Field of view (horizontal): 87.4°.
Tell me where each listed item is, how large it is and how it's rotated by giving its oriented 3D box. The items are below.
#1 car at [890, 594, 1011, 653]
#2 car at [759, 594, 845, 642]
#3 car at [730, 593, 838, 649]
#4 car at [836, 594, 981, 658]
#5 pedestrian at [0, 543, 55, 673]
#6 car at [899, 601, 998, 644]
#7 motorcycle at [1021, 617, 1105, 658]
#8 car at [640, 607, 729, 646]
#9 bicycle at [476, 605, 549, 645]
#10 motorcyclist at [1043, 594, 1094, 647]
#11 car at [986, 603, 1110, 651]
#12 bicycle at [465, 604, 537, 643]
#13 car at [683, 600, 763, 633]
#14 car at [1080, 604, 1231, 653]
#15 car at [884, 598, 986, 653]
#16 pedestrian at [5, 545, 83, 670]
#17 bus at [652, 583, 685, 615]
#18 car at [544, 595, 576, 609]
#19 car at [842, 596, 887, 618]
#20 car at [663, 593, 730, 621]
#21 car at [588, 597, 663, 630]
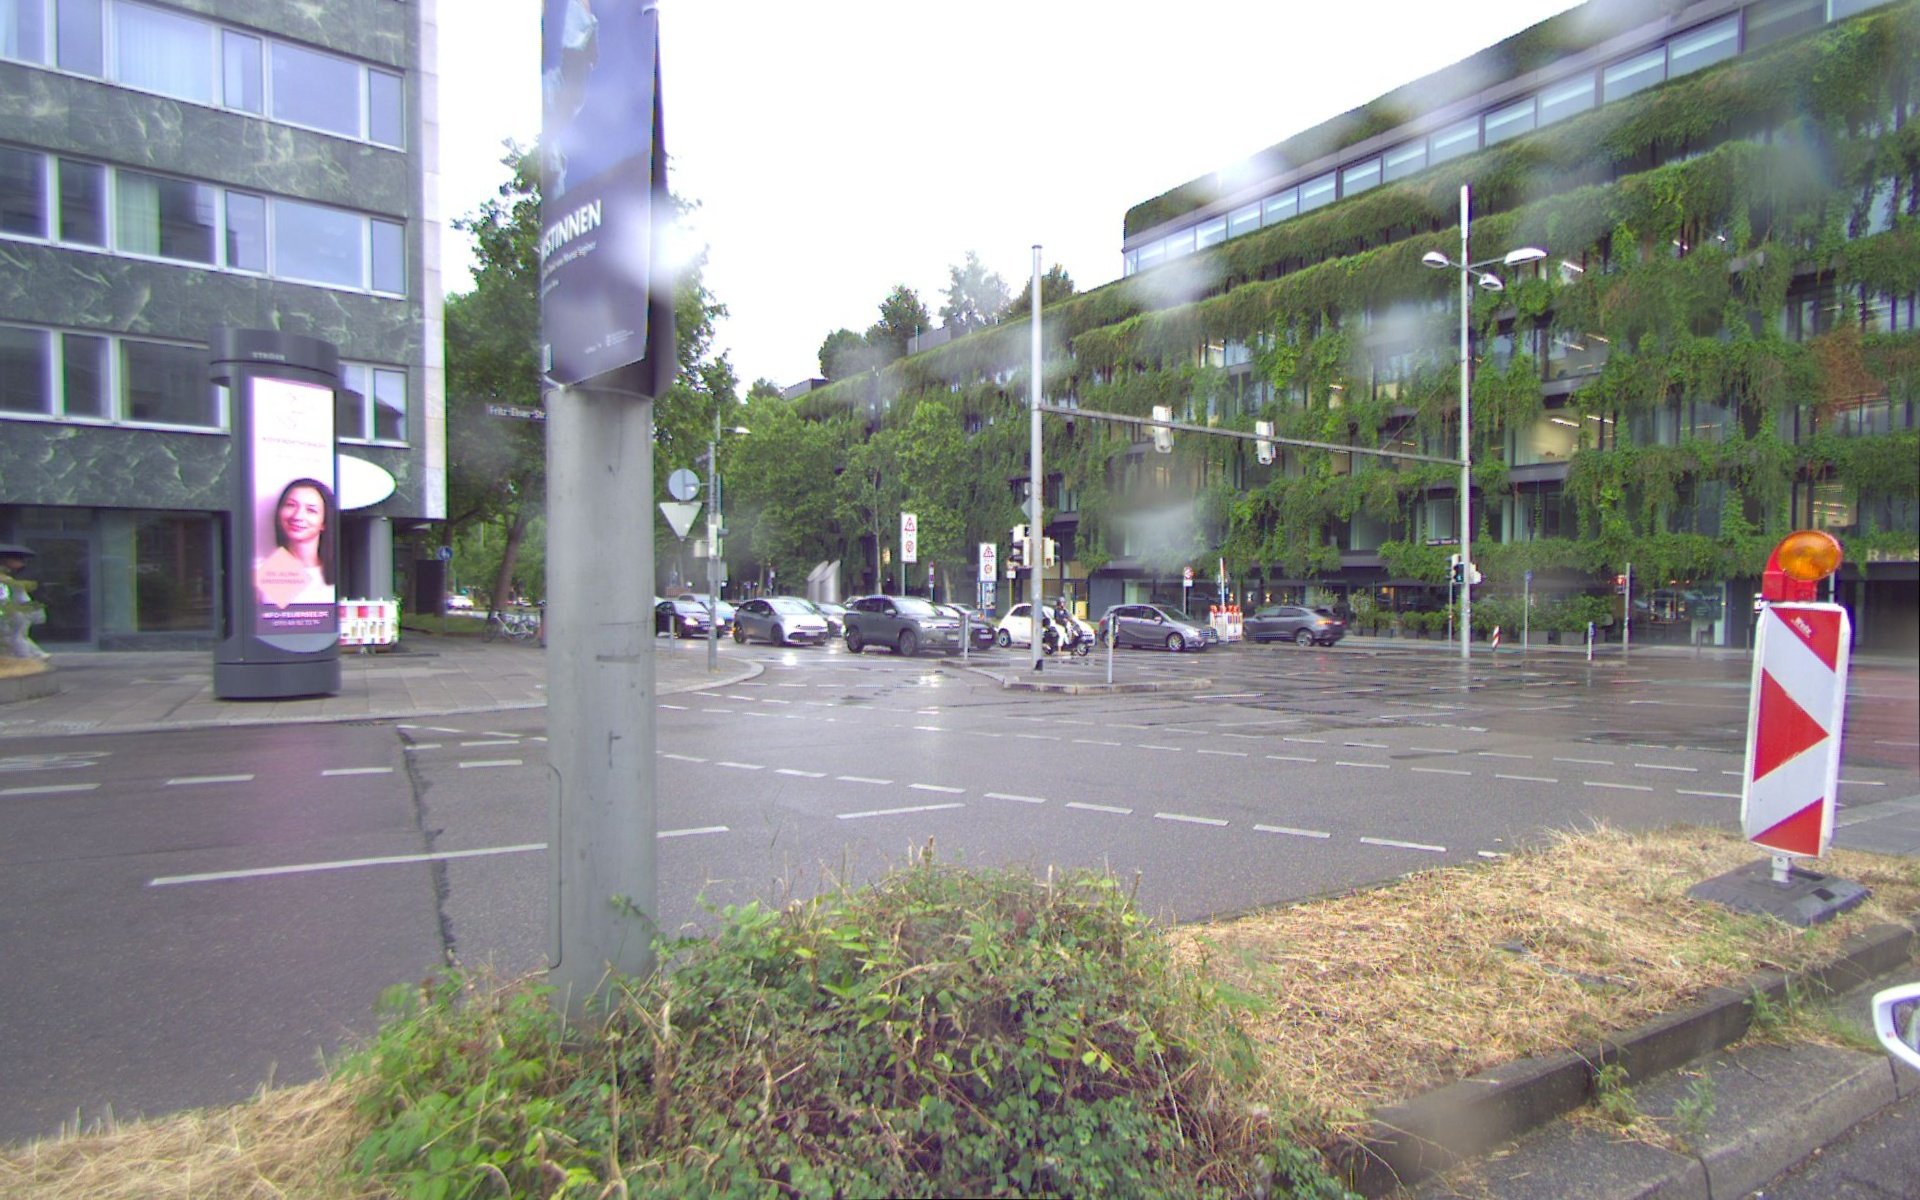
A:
[{"bbox_3d":[-0.374,0.712,32.524,1.981,1.773,3.958,1,0,-37],"label":"car"},{"bbox_3d":[-6.292,0.660,39.672,1.841,1.791,4.139,1,0,-32],"label":"car"},{"bbox_3d":[-6.018,0.663,34.038,1.982,1.773,3.956,1,0,-38],"label":"car"},{"bbox_3d":[-1.556,0.705,29.104,1.984,1.709,4.314,1,0,-41],"label":"car"},{"bbox_3d":[-15.139,0.126,16.100,0.715,2.040,0.598,1,0,-10],"label":"pedestrian"},{"bbox_3d":[-0.629,1.171,52.557,4.648,1.495,1.999,7,-4,29],"label":"car"},{"bbox_3d":[2.966,1.069,29.131,2.331,1.068,0.830,2,0,41],"label":"motorcycle"},{"bbox_3d":[-10.901,1.008,39.627,1.982,1.389,4.131,1,0,-37],"label":"car"},{"bbox_3d":[-12.298,0.682,27.637,1.765,1.066,0.581,1,0,-35],"label":"bicycle"},{"bbox_3d":[3.133,0.584,28.995,1.153,1.492,0.832,2,0,40],"label":"motorcyclist"},{"bbox_3d":[2.872,0.860,33.468,1.981,1.495,3.958,1,0,-37],"label":"car"},{"bbox_3d":[-12.977,0.667,28.414,1.765,1.066,0.581,1,0,-35],"label":"bicycle"},{"bbox_3d":[-10.675,0.703,45.025,1.982,1.389,4.131,1,0,-37],"label":"car"},{"bbox_3d":[6.618,0.937,34.412,4.842,1.508,1.922,1,0,45],"label":"car"},{"bbox_3d":[-1.011,0.916,37.766,1.978,1.923,4.139,1,0,-33],"label":"car"},{"bbox_3d":[-15.241,0.130,16.724,0.715,2.040,0.598,1,0,-10],"label":"pedestrian"},{"bbox_3d":[-32.018,-0.143,110.237,1.783,3.385,5.922,2,0,-34],"label":"bus"},{"bbox_3d":[-46.064,0.208,115.736,1.919,1.508,4.849,1,0,-41],"label":"car"},{"bbox_3d":[-7.366,0.497,77.249,1.783,1.588,3.962,2,0,-34],"label":"car"},{"bbox_3d":[-13.929,0.342,52.927,1.982,1.389,4.131,1,0,-37],"label":"car"},{"bbox_3d":[-15.035,0.570,45.038,1.982,1.389,4.131,1,0,-37],"label":"car"}]
